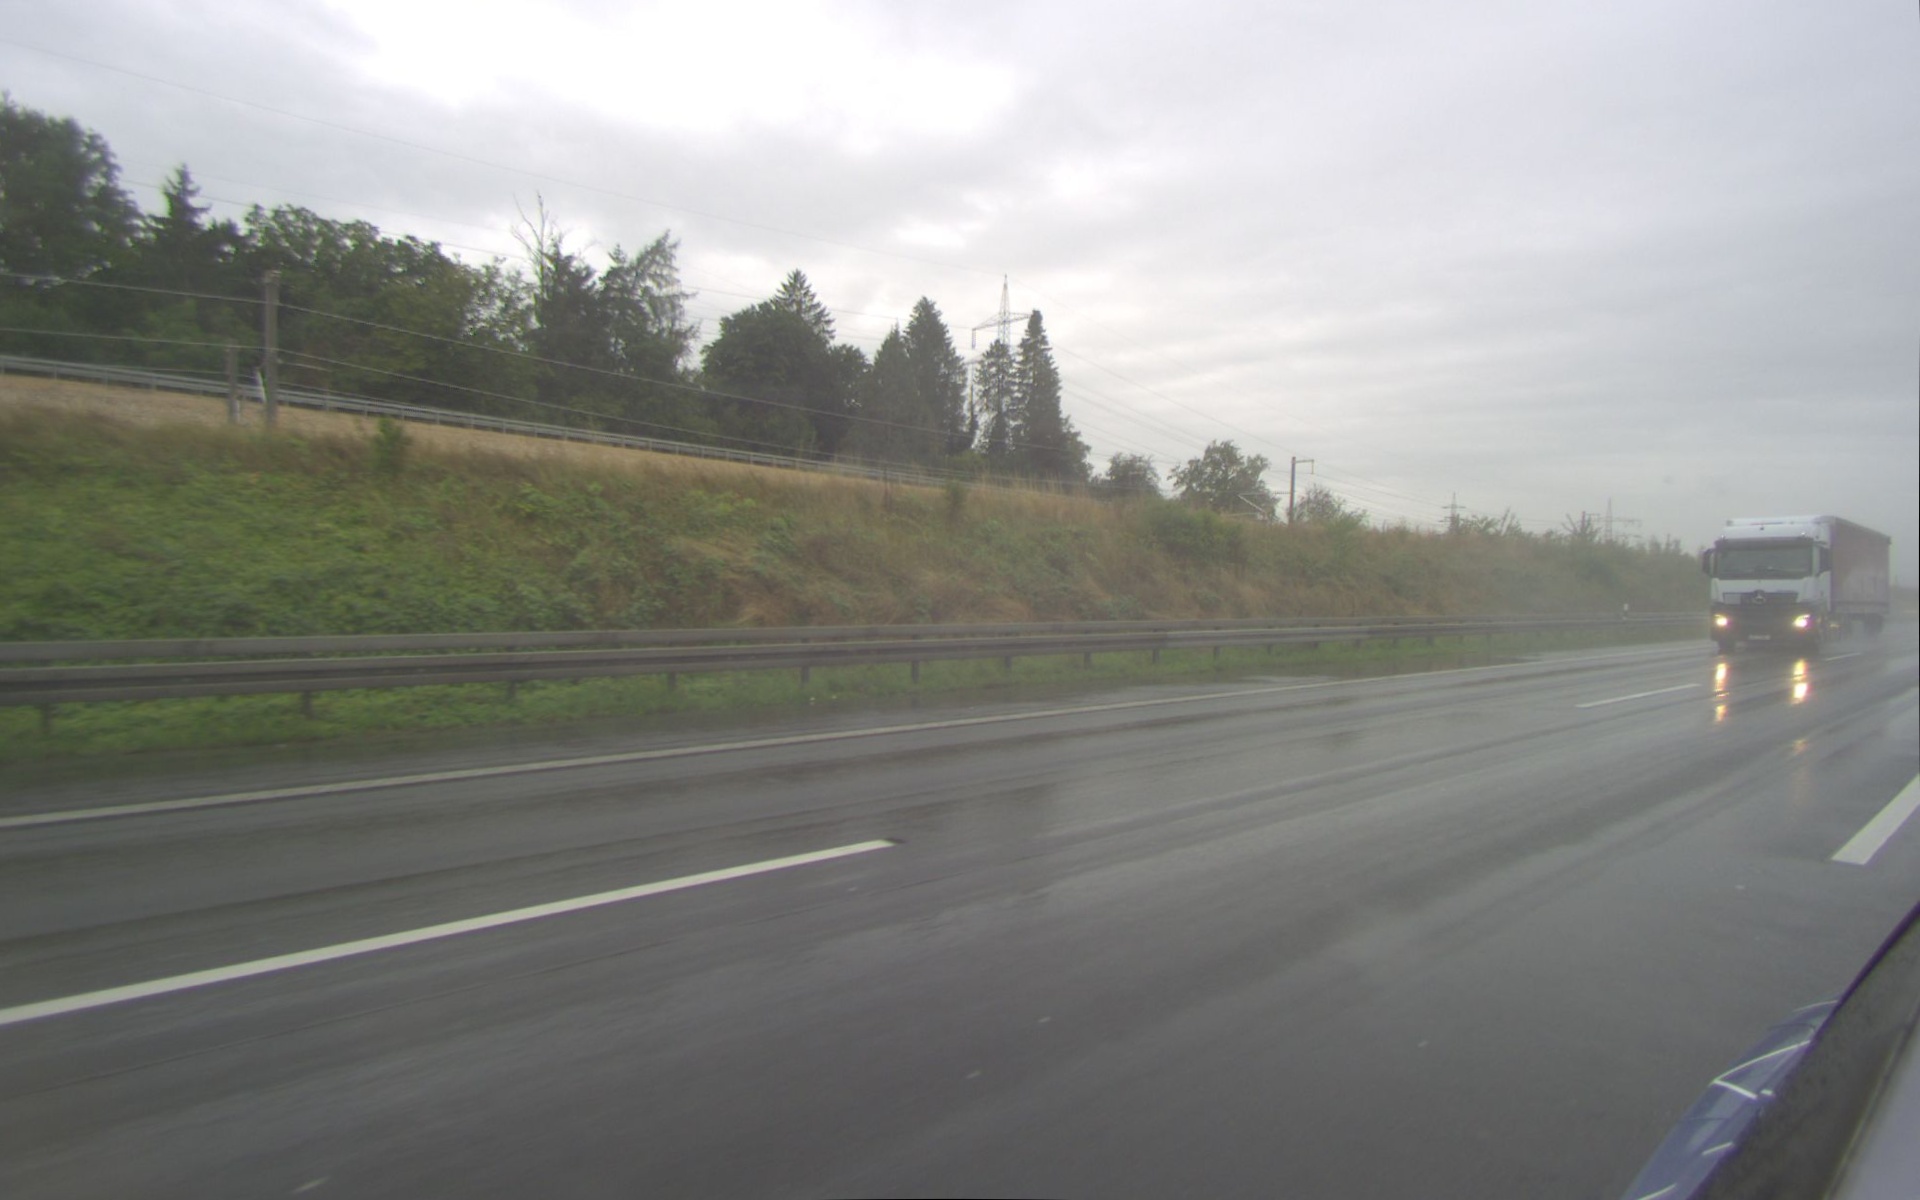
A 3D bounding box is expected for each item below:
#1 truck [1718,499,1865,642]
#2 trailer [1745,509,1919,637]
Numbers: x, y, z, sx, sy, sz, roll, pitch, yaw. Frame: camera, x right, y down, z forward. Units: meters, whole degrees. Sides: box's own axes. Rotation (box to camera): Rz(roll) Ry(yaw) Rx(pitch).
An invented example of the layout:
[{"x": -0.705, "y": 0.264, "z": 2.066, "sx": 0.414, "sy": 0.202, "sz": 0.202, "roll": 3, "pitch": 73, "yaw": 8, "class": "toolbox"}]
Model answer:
[{"x": 25.409, "y": -0.811, "z": 30.834, "sx": 6.090, "sy": 3.938, "sz": 2.456, "roll": 1, "pitch": 0, "yaw": -41, "class": "truck"}, {"x": 31.759, "y": -0.763, "z": 36.413, "sx": 16.254, "sy": 3.813, "sz": 2.484, "roll": 1, "pitch": 0, "yaw": -41, "class": "trailer"}]
